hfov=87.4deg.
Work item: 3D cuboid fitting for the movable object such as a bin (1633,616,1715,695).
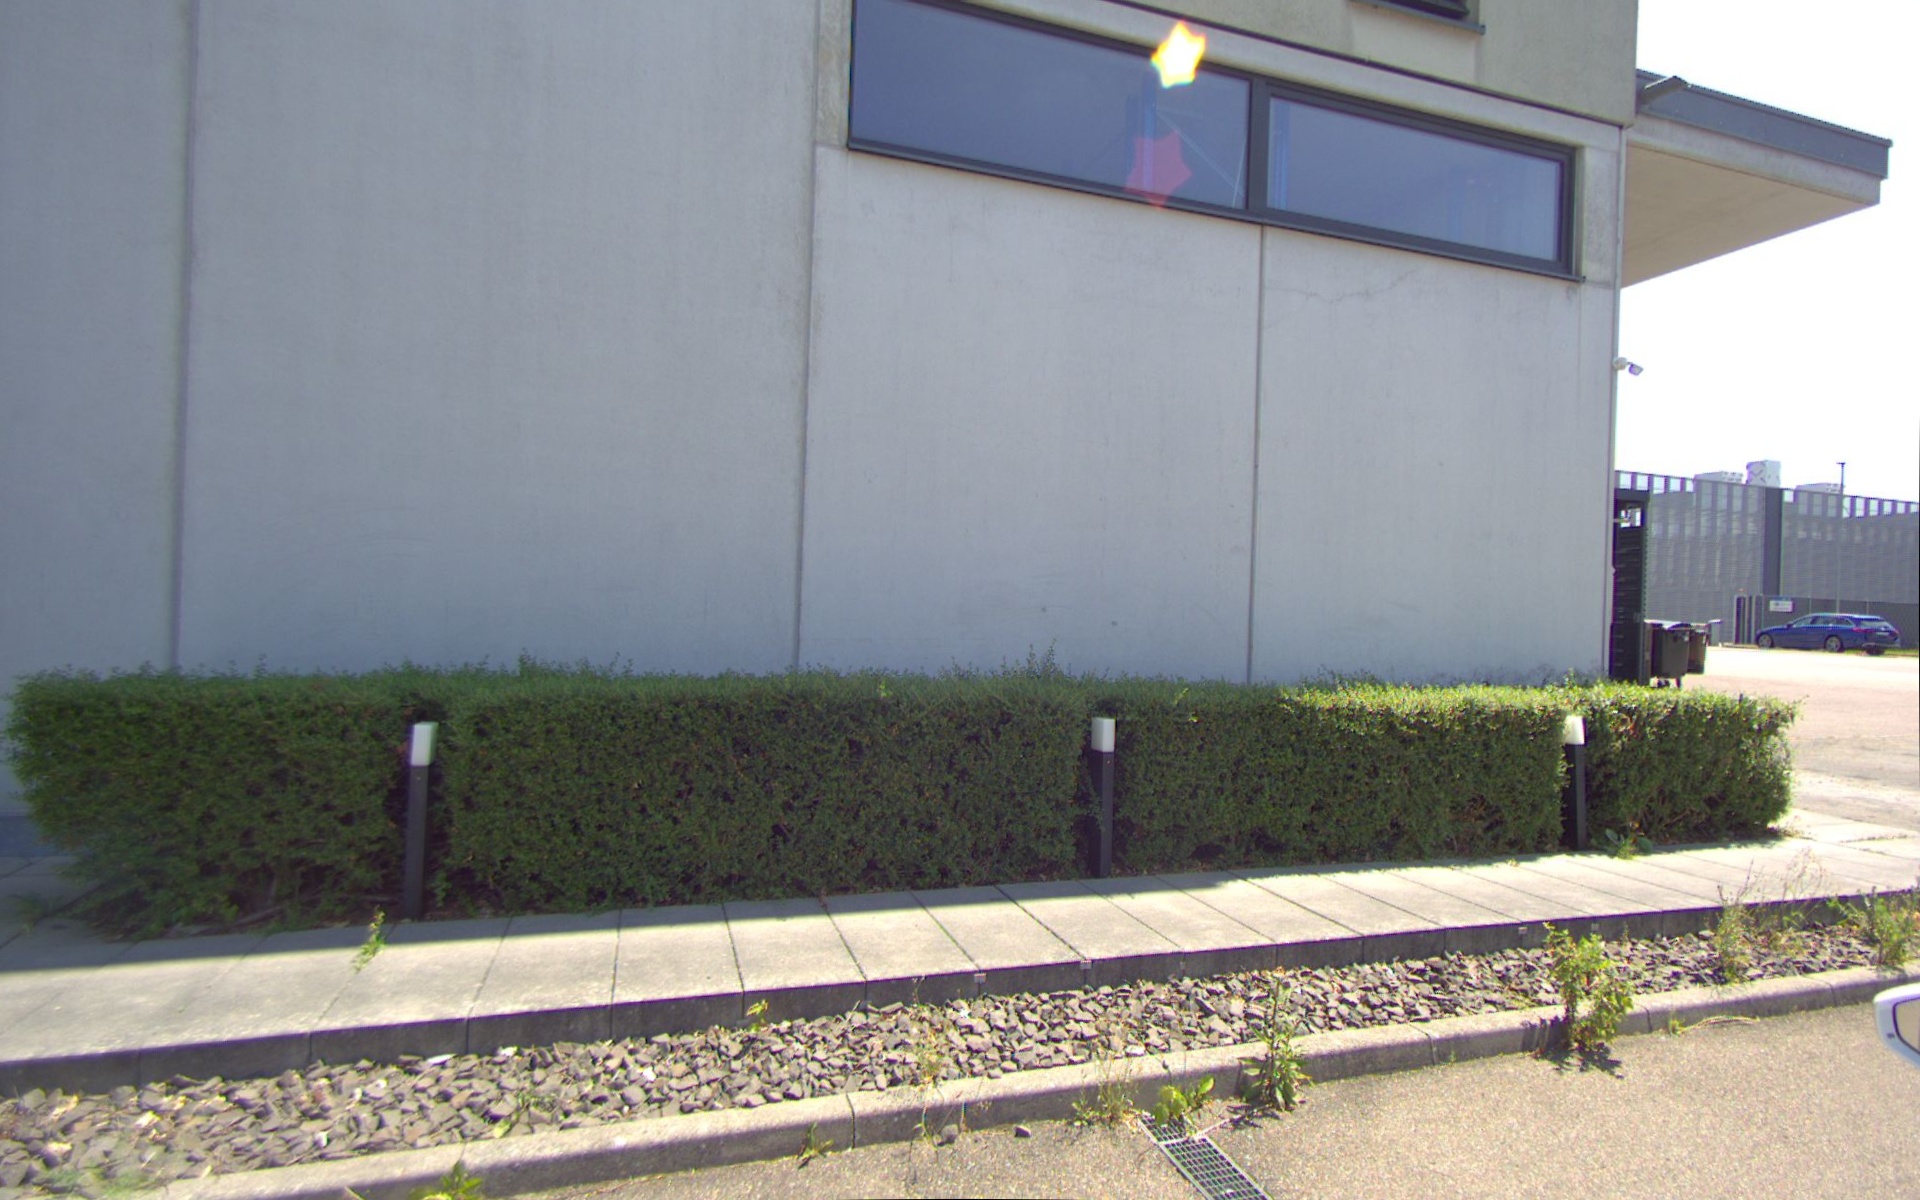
[{"bbox_3d":[12.877,0.991,18.127,0.869,1.362,0.811,2,0,-12],"label":"movable object such as a bin"}]

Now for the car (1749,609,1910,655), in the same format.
[{"bbox_3d":[32.475,1.140,37.720,1.962,1.511,4.512,1,1,-4],"label":"car"}]

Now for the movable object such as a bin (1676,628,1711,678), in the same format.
[{"bbox_3d":[15.980,1.154,21.889,0.570,1.050,0.424,1,0,39],"label":"movable object such as a bin"}]

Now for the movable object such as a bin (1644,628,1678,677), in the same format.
[{"bbox_3d":[15.529,1.150,22.267,0.573,1.041,0.424,1,0,39],"label":"movable object such as a bin"}]
